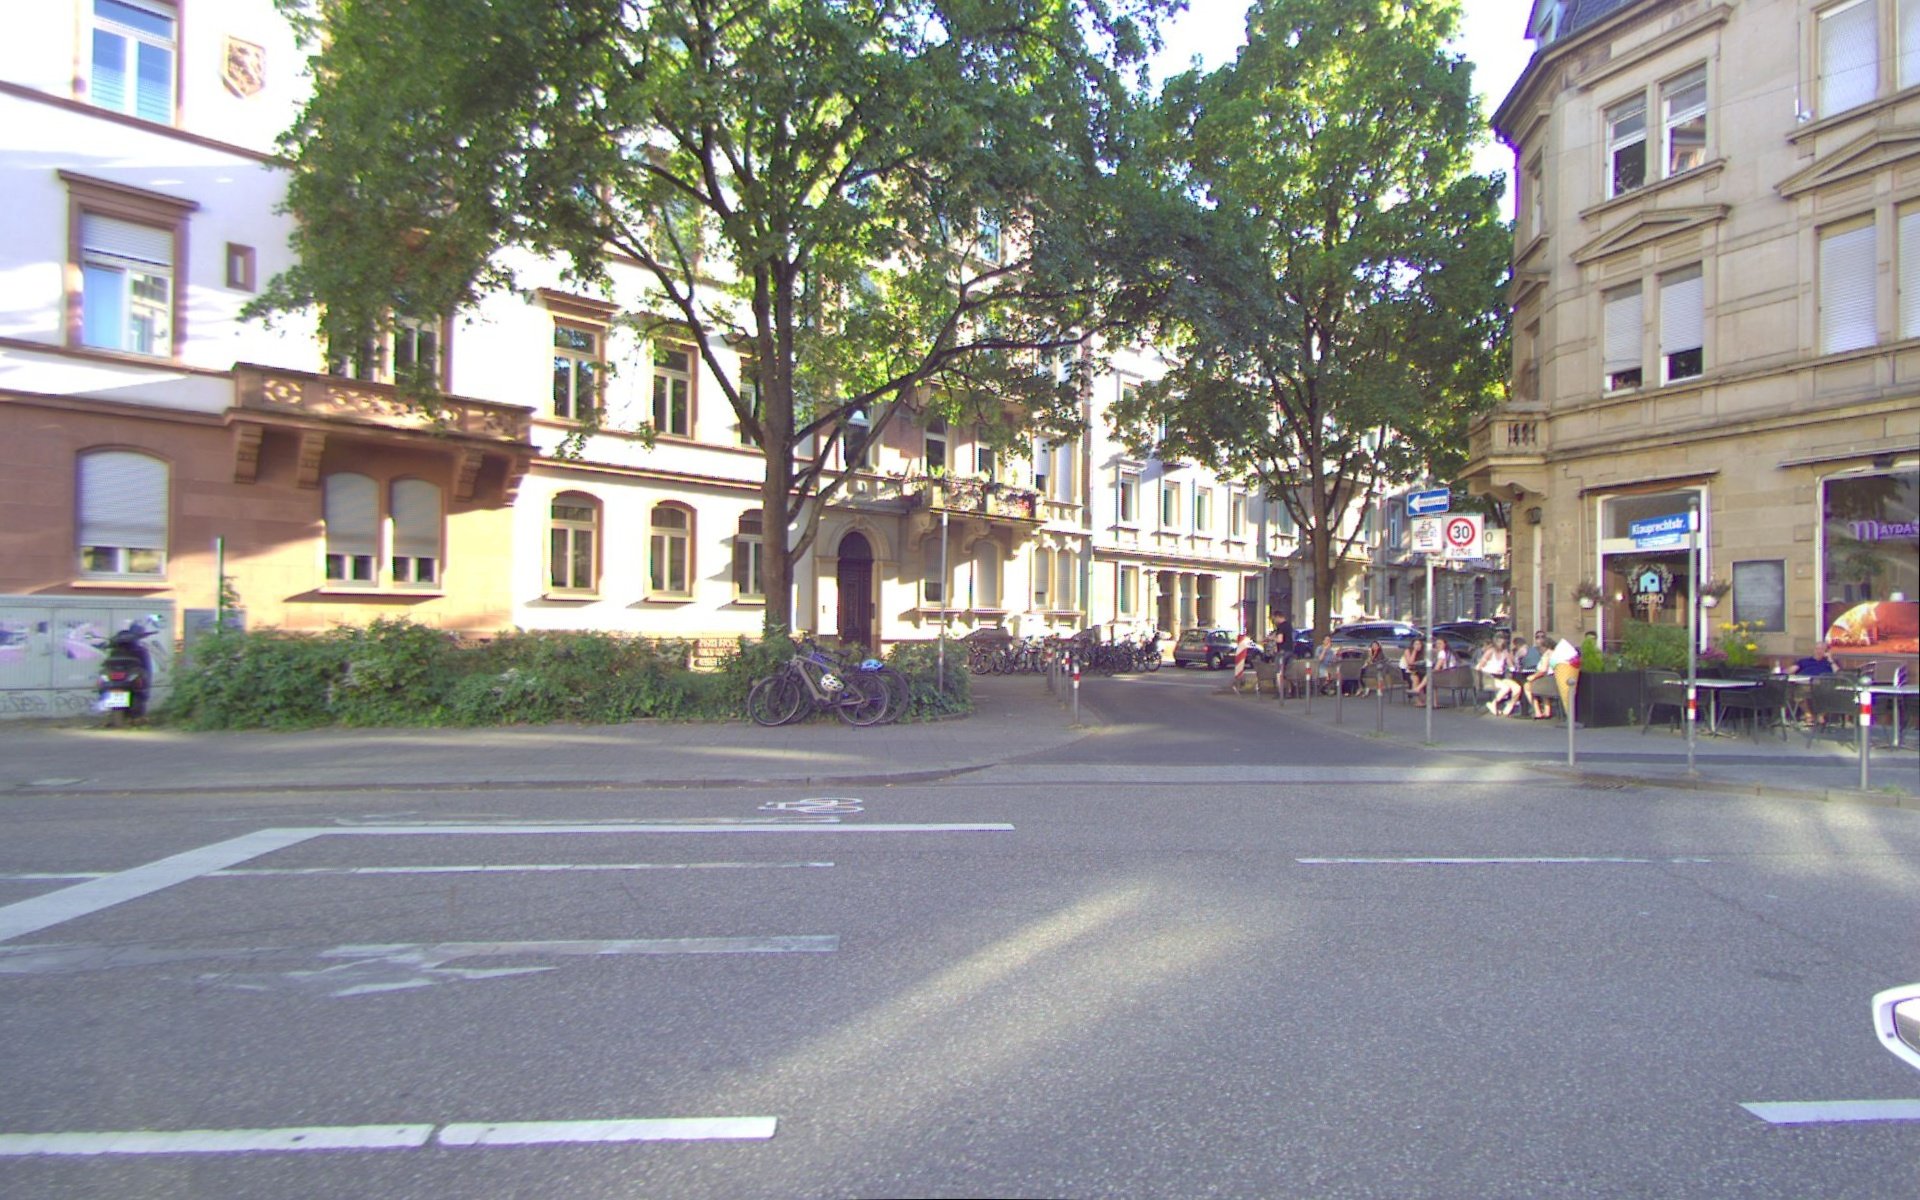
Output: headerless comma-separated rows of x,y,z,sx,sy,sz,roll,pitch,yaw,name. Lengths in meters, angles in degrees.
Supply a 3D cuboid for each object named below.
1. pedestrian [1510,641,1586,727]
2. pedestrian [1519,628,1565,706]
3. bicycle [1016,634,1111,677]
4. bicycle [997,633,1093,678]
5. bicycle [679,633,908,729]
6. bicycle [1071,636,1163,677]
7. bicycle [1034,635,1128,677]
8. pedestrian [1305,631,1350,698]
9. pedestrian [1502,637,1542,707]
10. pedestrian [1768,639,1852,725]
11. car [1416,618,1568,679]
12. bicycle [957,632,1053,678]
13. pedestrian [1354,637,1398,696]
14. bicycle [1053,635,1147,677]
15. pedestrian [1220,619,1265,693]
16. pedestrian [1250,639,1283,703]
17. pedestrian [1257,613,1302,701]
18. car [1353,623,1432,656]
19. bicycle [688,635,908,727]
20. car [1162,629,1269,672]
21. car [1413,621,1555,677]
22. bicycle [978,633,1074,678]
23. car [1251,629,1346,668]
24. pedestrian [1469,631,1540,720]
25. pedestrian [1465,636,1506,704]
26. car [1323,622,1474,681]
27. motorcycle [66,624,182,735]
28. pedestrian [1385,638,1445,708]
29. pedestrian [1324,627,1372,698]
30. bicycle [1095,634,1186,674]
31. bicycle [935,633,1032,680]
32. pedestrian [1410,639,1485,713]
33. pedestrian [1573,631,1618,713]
9.300,1.315,15.896,0.731,1.306,0.743,1,-1,-17,pedestrian
11.004,1.254,18.998,0.474,1.450,0.567,0,-1,-18,pedestrian
3.032,1.624,29.809,0.746,1.196,3.098,1,-2,-42,bicycle
2.433,1.584,29.241,0.746,1.196,3.098,1,-2,-42,bicycle
-2.136,1.045,13.128,2.902,1.212,0.547,0,-1,-4,bicycle
4.875,1.747,31.471,0.746,1.196,3.098,1,-2,-42,bicycle
3.615,1.664,30.365,0.746,1.196,3.098,1,-2,-42,bicycle
8.088,1.415,22.110,0.751,1.460,0.668,-1,-2,5,pedestrian
10.298,1.306,18.408,0.426,1.265,0.481,0,-1,-10,pedestrian
12.658,1.200,14.961,0.747,1.230,0.723,1,-1,-27,pedestrian
16.054,1.417,30.341,3.930,1.706,1.996,-1,-2,32,car
1.216,1.514,28.161,0.746,1.196,3.098,1,-2,-42,bicycle
8.900,1.415,21.509,0.664,1.231,0.668,0,-2,3,pedestrian
4.264,1.705,30.895,0.746,1.196,3.098,1,-2,-42,bicycle
6.536,1.297,23.266,0.753,1.691,0.667,0,-2,-9,pedestrian
6.564,1.521,21.534,0.560,1.338,0.505,0,-1,3,pedestrian
6.667,1.188,20.969,0.751,1.793,0.572,0,-2,5,pedestrian
19.345,1.748,44.859,3.724,1.394,1.906,2,-2,-42,car
-2.174,1.101,13.721,2.902,1.212,0.547,0,-1,-4,bicycle
8.945,1.735,35.076,3.724,1.394,1.906,2,-2,-42,car
17.040,1.563,32.867,3.922,1.706,2.000,0,-2,22,car
1.849,1.548,28.719,0.746,1.196,3.098,1,-2,-42,bicycle
12.960,1.822,38.394,3.724,1.394,1.906,2,-2,-42,car
9.042,1.242,16.690,0.716,1.429,0.753,1,-1,-19,pedestrian
10.112,1.334,19.323,0.501,1.265,0.481,0,-1,-10,pedestrian
12.421,1.429,28.703,3.759,1.582,1.804,0,-1,17,car
-10.586,0.953,12.799,0.834,1.282,2.092,1,-2,-32,motorcycle
8.500,1.359,18.785,0.736,1.265,0.705,0,-1,-10,pedestrian
8.142,1.306,21.080,0.751,1.460,0.668,-1,-2,5,pedestrian
5.740,1.714,32.207,0.746,1.196,3.098,1,-2,-42,bicycle
0.613,1.508,27.577,0.746,1.196,3.098,1,-2,-42,bicycle
8.665,1.328,17.891,0.736,1.265,1.023,0,-1,-10,pedestrian
10.967,1.226,17.341,0.426,1.385,0.480,0,-1,-16,pedestrian
